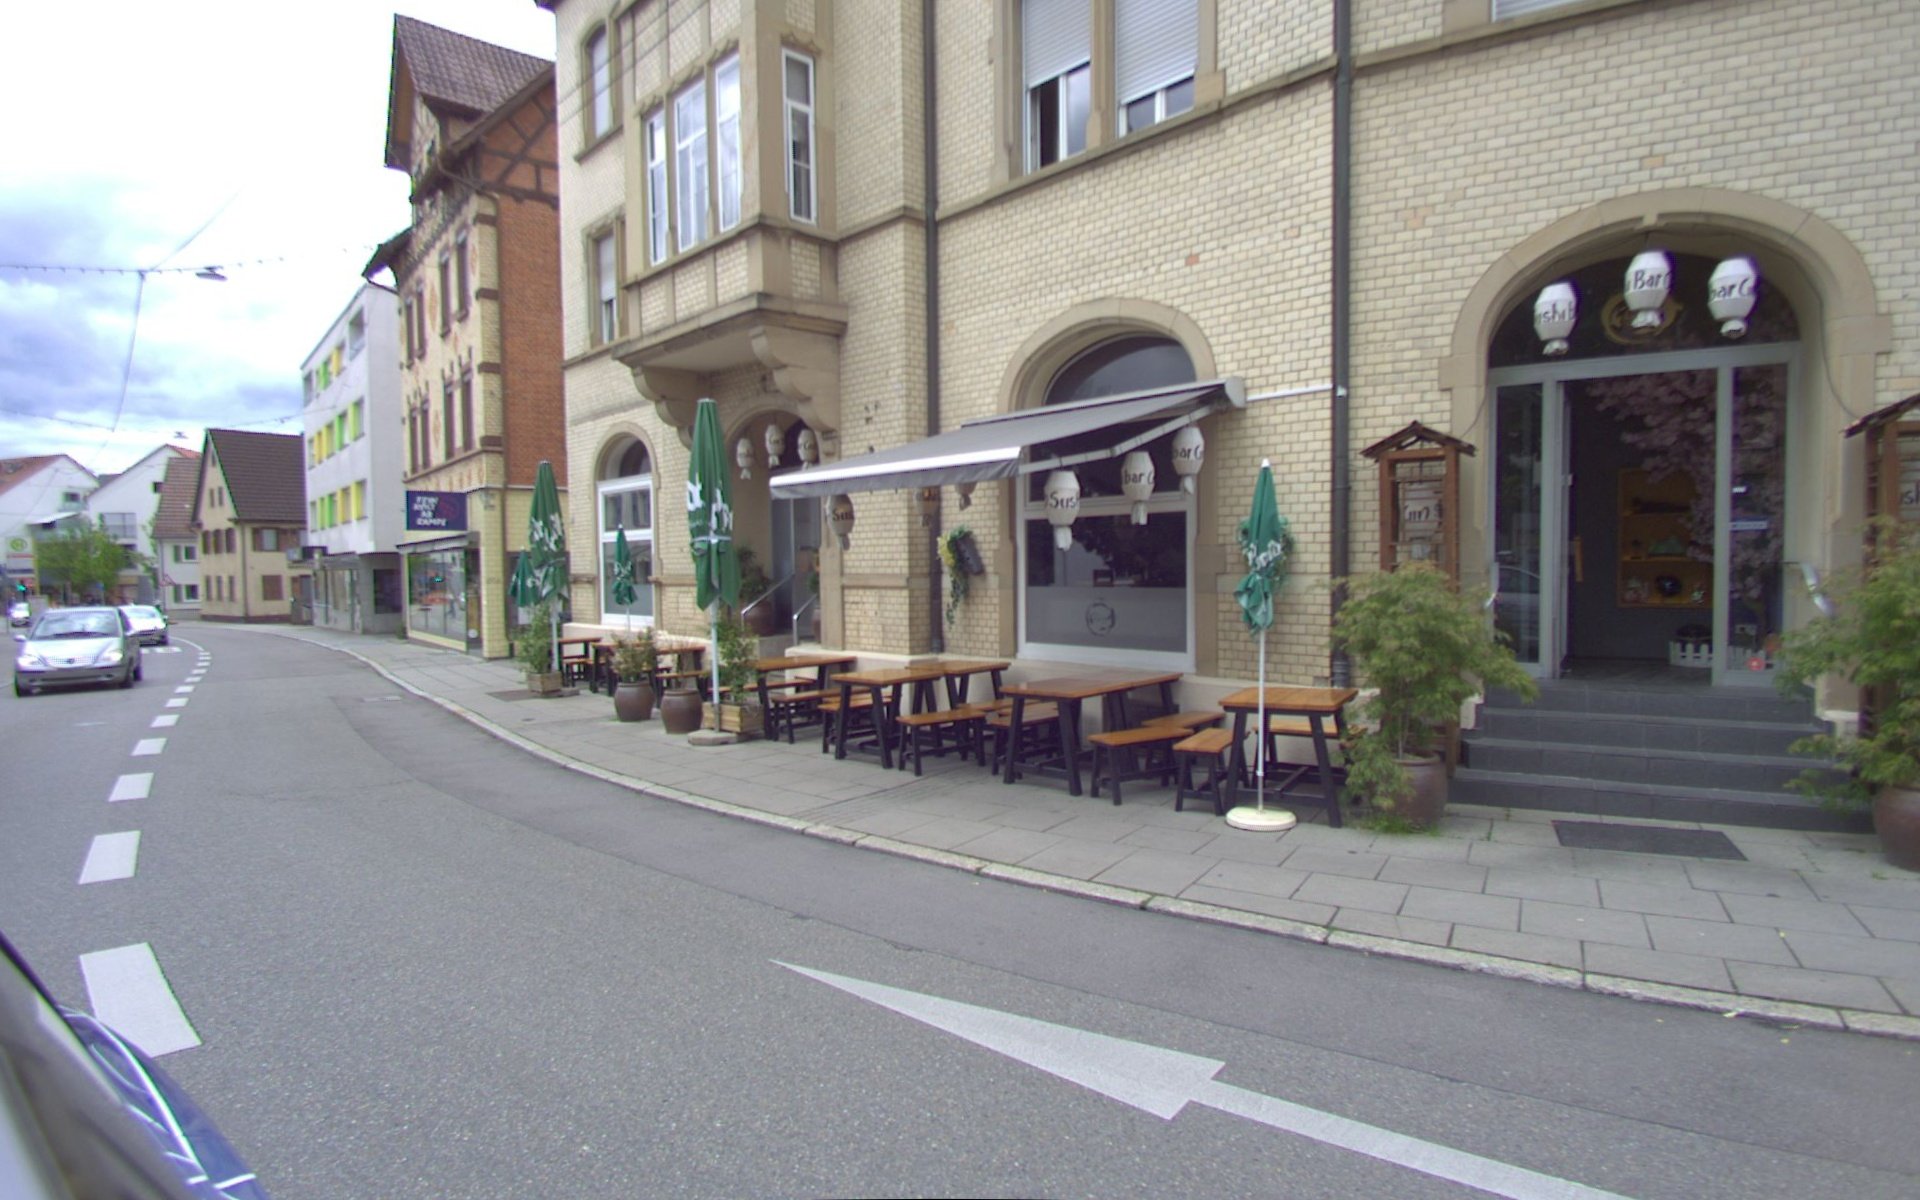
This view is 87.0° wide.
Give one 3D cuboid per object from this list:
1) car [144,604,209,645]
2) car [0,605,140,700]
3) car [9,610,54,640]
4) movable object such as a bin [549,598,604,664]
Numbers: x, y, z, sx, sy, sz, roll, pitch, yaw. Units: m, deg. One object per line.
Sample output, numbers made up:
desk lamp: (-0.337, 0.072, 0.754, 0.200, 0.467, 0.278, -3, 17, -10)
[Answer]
car: (-29.298, 0.905, 37.799, 1.729, 1.365, 4.006, -2, 0, -40)
car: (-17.508, 0.950, 20.038, 1.865, 1.639, 4.008, -1, 0, -38)
car: (-58.885, 1.571, 64.188, 1.972, 1.639, 4.004, -4, 3, -43)
movable object such as a bin: (-8.930, 0.698, 23.559, 0.930, 1.388, 0.825, -5, 6, -36)
